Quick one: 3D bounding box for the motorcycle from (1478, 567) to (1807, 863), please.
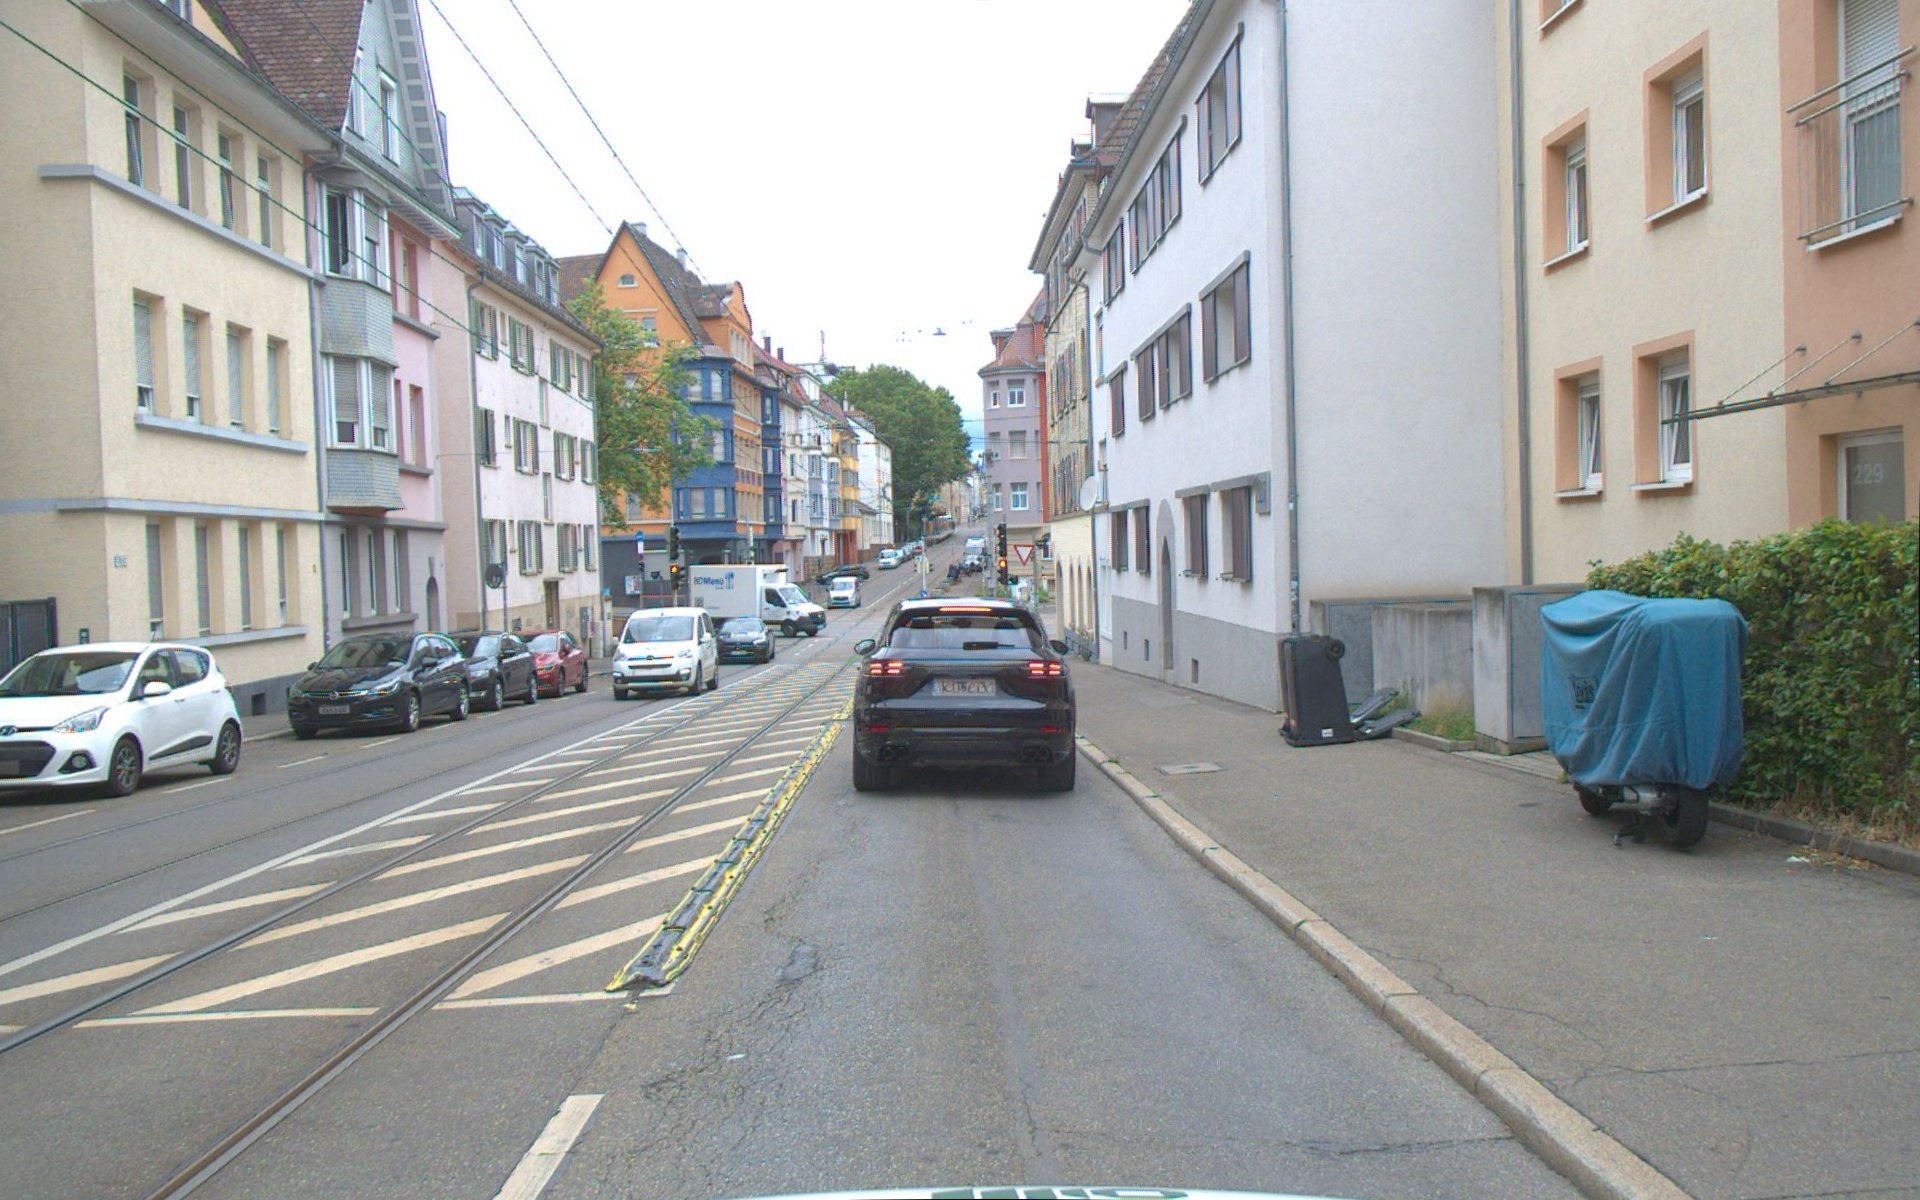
[{"bbox_3d":[3.897,0.592,9.750,0.821,1.482,2.552,-2,0,0],"label":"motorcycle"}]

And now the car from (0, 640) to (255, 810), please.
[{"bbox_3d":[-8.907,1.221,17.179,1.588,1.488,3.684,-3,-1,-1],"label":"car"}]

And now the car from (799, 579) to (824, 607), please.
[{"bbox_3d":[-9.935,-0.447,110.734,1.366,1.752,3.358,-2,0,-1],"label":"car"}]

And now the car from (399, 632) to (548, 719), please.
[{"bbox_3d":[-9.222,1.389,31.683,1.701,1.435,3.999,-2,0,-1],"label":"car"}]

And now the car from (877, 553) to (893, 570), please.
[{"bbox_3d":[-7.278,-3.733,161.298,1.366,1.476,3.358,-2,0,-1],"label":"car"}]

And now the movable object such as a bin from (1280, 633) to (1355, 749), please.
[{"bbox_3d":[3.576,0.899,16.576,0.576,1.099,0.692,-2,0,0],"label":"movable object such as a bin"}]

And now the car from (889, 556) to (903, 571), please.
[{"bbox_3d":[-6.744,-3.830,174.727,1.366,1.476,3.358,-2,0,-1],"label":"car"}]

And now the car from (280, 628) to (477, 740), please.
[{"bbox_3d":[-8.944,1.232,25.817,1.588,1.499,4.553,-3,-1,-3],"label":"car"}]

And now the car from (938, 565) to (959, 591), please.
[{"bbox_3d":[-0.823,-1.561,117.380,1.366,1.752,3.358,-2,0,-1],"label":"car"}]

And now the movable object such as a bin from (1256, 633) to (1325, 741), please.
[{"bbox_3d":[3.508,0.915,17.581,0.598,1.099,0.541,-2,0,0],"label":"movable object such as a bin"}]

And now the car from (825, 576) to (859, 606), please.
[{"bbox_3d":[-7.245,-0.535,101.793,1.715,1.790,4.253,-2,0,-1],"label":"car"}]

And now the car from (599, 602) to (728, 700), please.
[{"bbox_3d":[-6.091,0.996,34.472,1.882,1.850,4.217,-2,0,0],"label":"car"}]

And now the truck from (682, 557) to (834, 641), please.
[{"bbox_3d":[-8.889,-0.036,72.705,6.253,3.429,2.346,-2,0,24],"label":"truck"}]

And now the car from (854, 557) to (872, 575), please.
[{"bbox_3d":[-8.535,-2.959,145.295,1.366,1.476,3.358,-2,0,-1],"label":"car"}]

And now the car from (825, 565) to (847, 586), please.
[{"bbox_3d":[-9.253,-1.849,123.626,1.366,1.476,3.358,-2,0,-1],"label":"car"}]

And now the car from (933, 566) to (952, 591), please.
[{"bbox_3d":[-1.316,-1.593,124.125,1.366,1.752,3.358,-2,0,-1],"label":"car"}]

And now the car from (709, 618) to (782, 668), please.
[{"bbox_3d":[-6.976,1.376,54.142,1.882,1.449,4.496,-2,0,-2],"label":"car"}]

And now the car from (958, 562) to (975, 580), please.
[{"bbox_3d":[0.577,-2.619,149.517,1.366,1.476,3.358,-2,0,-1],"label":"car"}]

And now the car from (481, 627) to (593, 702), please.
[{"bbox_3d":[-9.414,1.398,37.073,1.588,1.516,4.045,-3,-1,-3],"label":"car"}]

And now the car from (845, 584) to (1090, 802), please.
[{"bbox_3d":[0.006,0.766,15.532,1.953,1.705,3.998,-2,0,-2],"label":"car"}]
